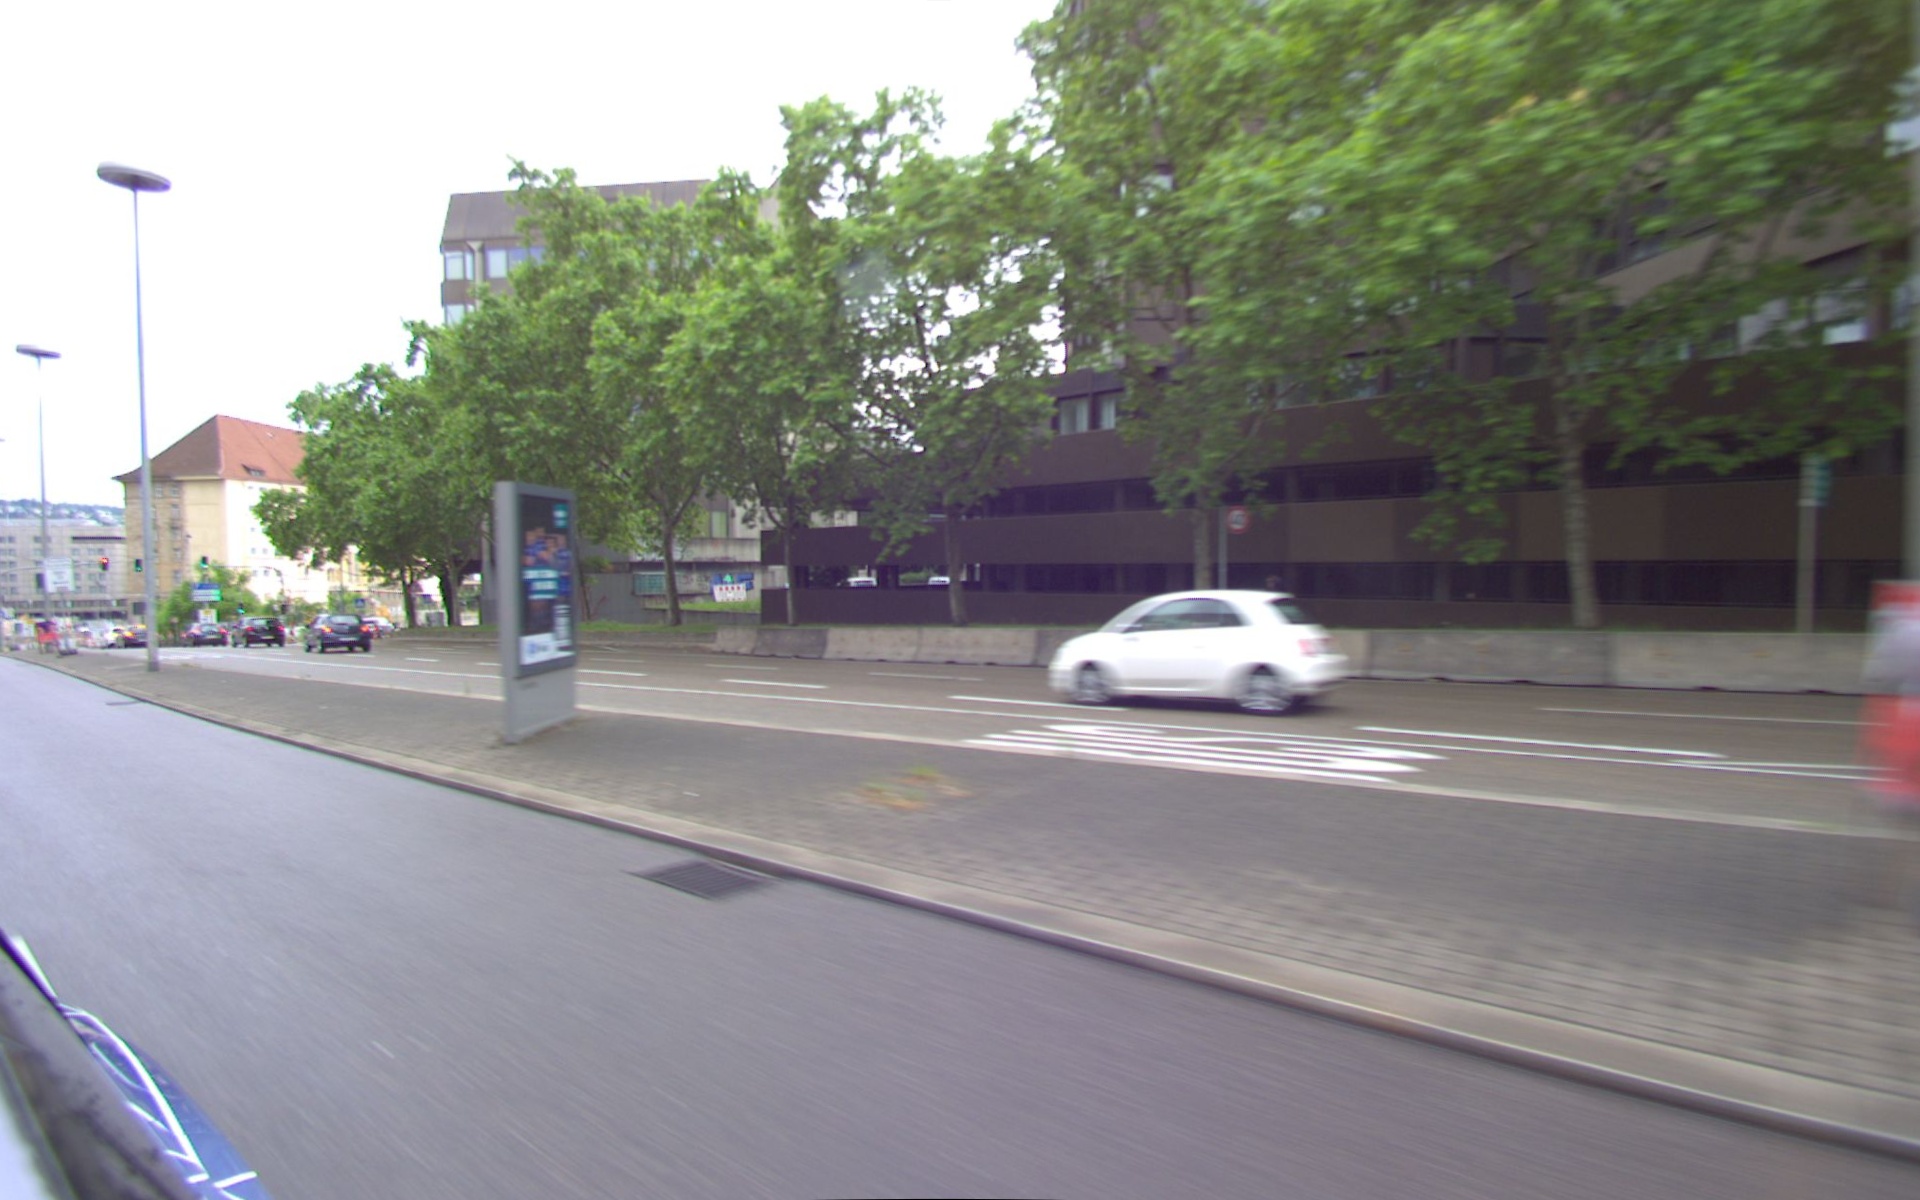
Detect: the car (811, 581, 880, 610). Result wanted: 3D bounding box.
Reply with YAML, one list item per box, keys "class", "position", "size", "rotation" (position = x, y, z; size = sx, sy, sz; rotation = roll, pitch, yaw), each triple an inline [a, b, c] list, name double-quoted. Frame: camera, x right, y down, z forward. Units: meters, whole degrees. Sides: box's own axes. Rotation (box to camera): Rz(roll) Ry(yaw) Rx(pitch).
- class: "car"
  position: [-7.372, -0.306, 64.984]
  size: [3.931, 1.730, 2.006]
  rotation: [-1, -1, -22]

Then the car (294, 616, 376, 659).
- class: "car"
  position: [-23.958, 1.447, 38.749]
  size: [1.910, 1.511, 4.177]
  rotation: [0, -2, -43]

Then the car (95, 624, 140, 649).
- class: "car"
  position: [-54.827, 2.363, 65.844]
  size: [3.864, 1.497, 1.774]
  rotation: [-1, 0, 43]

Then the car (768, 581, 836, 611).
- class: "car"
  position: [-9.565, -0.211, 61.535]
  size: [3.939, 1.730, 2.002]
  rotation: [-1, 0, -5]

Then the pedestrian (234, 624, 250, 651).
- class: "pedestrian"
  position: [-55.247, 2.872, 77.861]
  size: [0.657, 2.029, 0.807]
  rotation: [-1, -1, 13]

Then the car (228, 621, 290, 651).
- class: "car"
  position: [-35.370, 1.801, 51.048]
  size: [1.911, 1.447, 4.078]
  rotation: [0, -1, -45]

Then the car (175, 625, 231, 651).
- class: "car"
  position: [-45.176, 2.264, 60.364]
  size: [4.507, 1.447, 1.912]
  rotation: [-2, -1, 44]

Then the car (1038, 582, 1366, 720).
- class: "car"
  position: [3.050, 0.590, 13.048]
  size: [3.734, 1.530, 1.738]
  rotation: [-1, -1, 36]

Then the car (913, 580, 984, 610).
- class: "car"
  position: [-0.737, -0.275, 61.509]
  size: [3.997, 1.730, 1.973]
  rotation: [-1, -1, 40]

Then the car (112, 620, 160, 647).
- class: "car"
  position: [-49.972, 2.007, 61.364]
  size: [3.864, 1.497, 1.774]
  rotation: [-1, 0, 43]

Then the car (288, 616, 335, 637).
- class: "car"
  position: [-48.096, 1.963, 75.031]
  size: [4.507, 1.511, 1.912]
  rotation: [-1, 0, 44]
